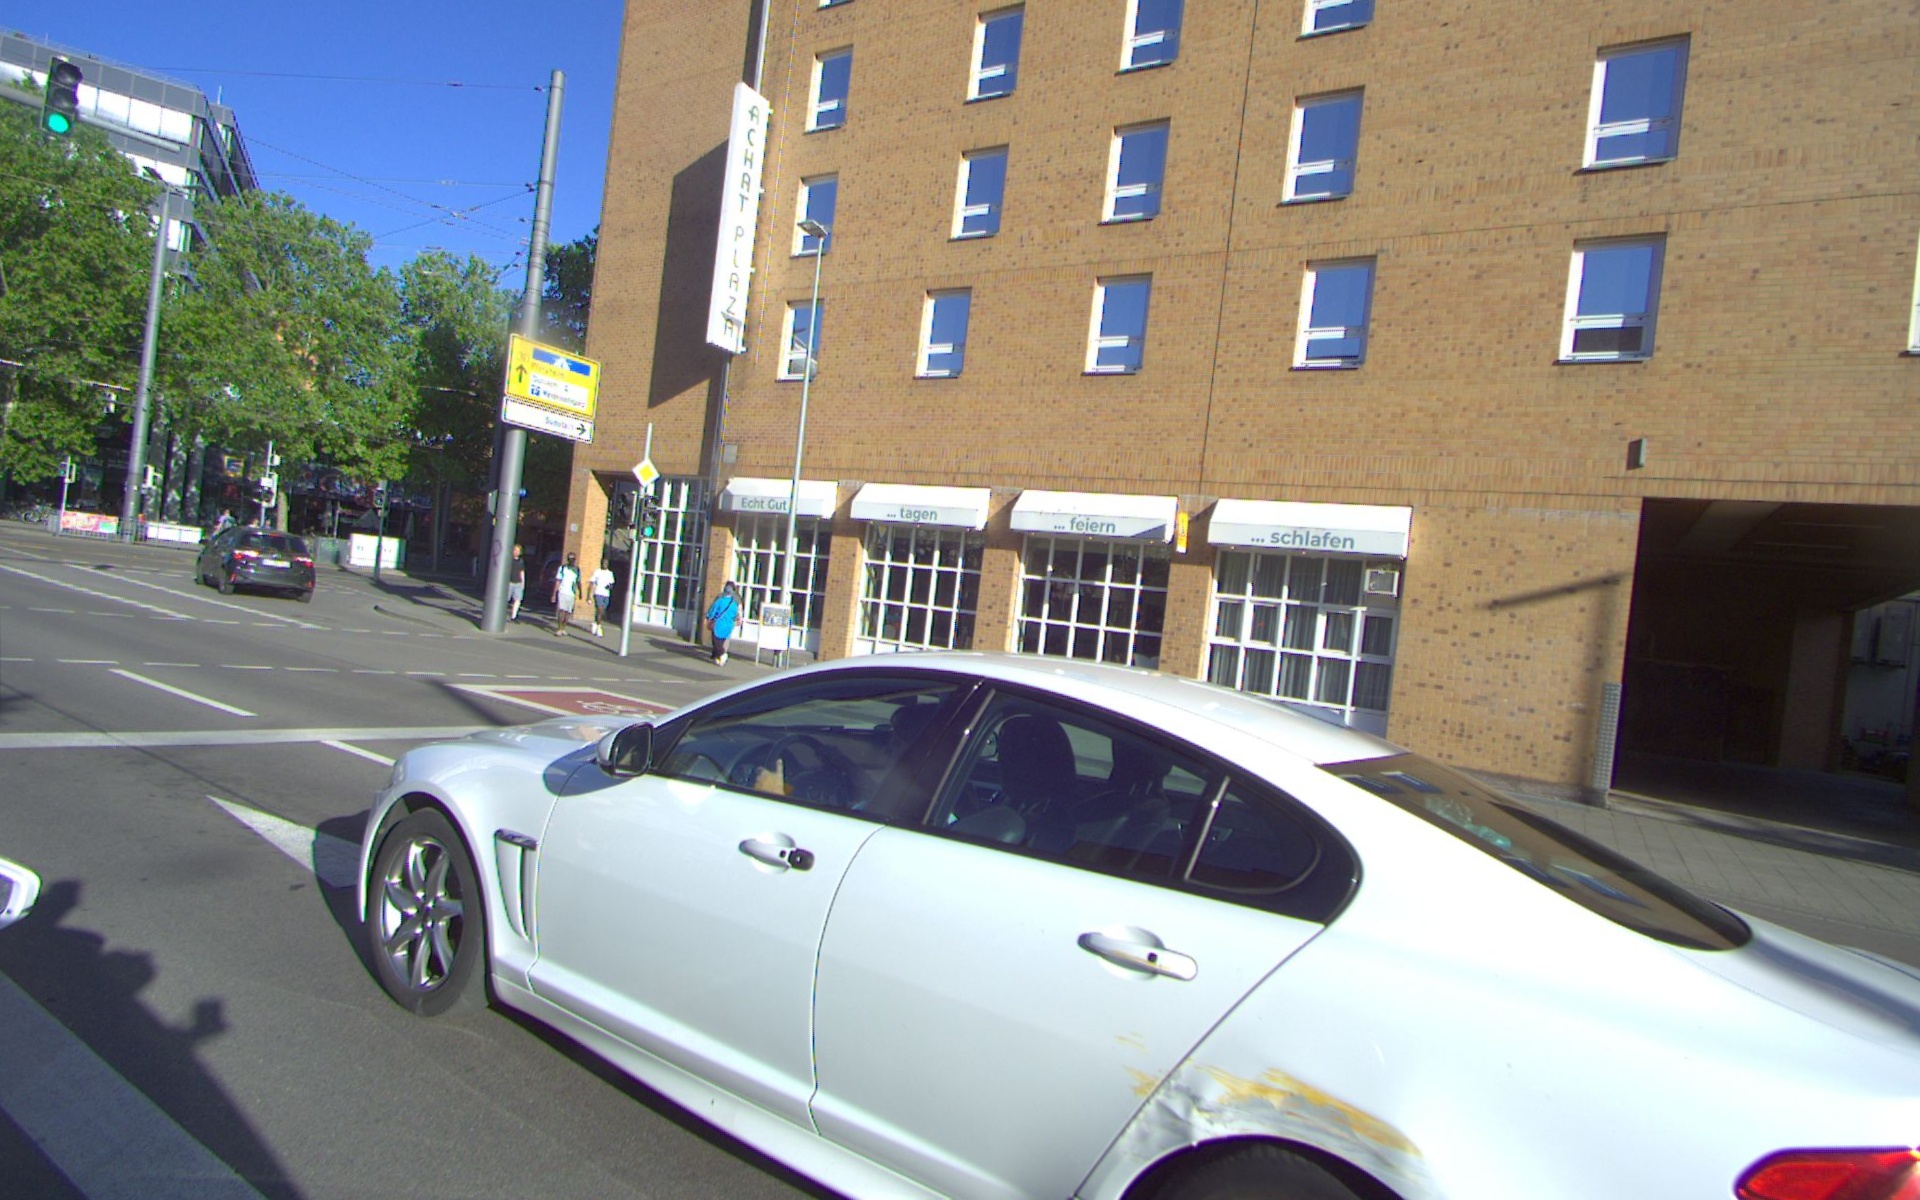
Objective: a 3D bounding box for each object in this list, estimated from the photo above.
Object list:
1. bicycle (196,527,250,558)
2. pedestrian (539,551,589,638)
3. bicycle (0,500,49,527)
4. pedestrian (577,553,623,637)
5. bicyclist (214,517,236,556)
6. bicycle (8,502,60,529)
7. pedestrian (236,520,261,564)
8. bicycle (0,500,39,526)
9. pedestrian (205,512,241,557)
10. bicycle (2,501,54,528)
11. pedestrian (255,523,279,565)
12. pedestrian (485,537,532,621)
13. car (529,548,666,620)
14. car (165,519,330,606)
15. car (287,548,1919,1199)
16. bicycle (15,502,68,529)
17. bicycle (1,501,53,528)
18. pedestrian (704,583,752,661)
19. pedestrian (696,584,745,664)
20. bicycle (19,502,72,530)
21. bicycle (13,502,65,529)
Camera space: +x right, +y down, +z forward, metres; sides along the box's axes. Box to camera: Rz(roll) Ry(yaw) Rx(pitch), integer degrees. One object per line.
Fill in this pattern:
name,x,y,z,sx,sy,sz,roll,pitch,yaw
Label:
bicycle,-36.321,-2.814,49.608,0.414,1.228,2.046,6,-2,32
pedestrian,-8.595,-0.124,21.847,0.670,1.804,0.593,7,3,27
bicycle,-49.161,-4.526,52.791,0.354,1.058,1.885,7,-2,31
pedestrian,-8.160,-0.111,22.804,0.673,1.802,0.591,6,1,43
bicyclist,-36.280,-3.123,49.631,0.396,1.859,0.585,6,-1,31
bicycle,-47.814,-4.369,51.960,0.354,1.058,1.884,7,-2,31
pedestrian,-26.395,-2.147,37.312,0.564,1.550,0.694,8,-2,-41
bicycle,-50.155,-4.640,53.324,0.354,1.058,1.885,7,-2,31
pedestrian,-30.724,-2.723,41.956,0.747,1.724,0.834,6,-1,32
bicycle,-48.375,-4.430,52.225,0.354,1.058,1.884,6,-2,31
pedestrian,-26.112,-2.088,37.887,0.563,1.496,0.695,8,-2,-37
pedestrian,-10.290,-0.461,22.926,0.726,1.813,0.510,7,-1,-19
car,-13.440,-0.541,37.534,1.780,2.031,4.467,7,-2,32
car,-16.300,-0.881,22.958,3.977,1.467,1.733,7,-1,35
car,-0.035,0.822,3.212,4.380,1.447,1.806,7,-1,32
bicycle,-46.714,-4.286,51.174,0.354,1.058,1.884,6,-2,31
bicycle,-48.728,-4.473,52.562,0.354,1.058,1.885,7,-2,31
pedestrian,-4.646,0.443,20.193,0.543,1.495,0.593,6,0,32
pedestrian,-4.609,0.456,19.370,0.591,1.472,0.592,6,3,32
bicycle,-46.087,-4.237,50.726,0.354,1.058,1.884,6,-2,31
bicycle,-47.329,-4.329,51.706,0.354,1.058,1.884,6,-2,31
